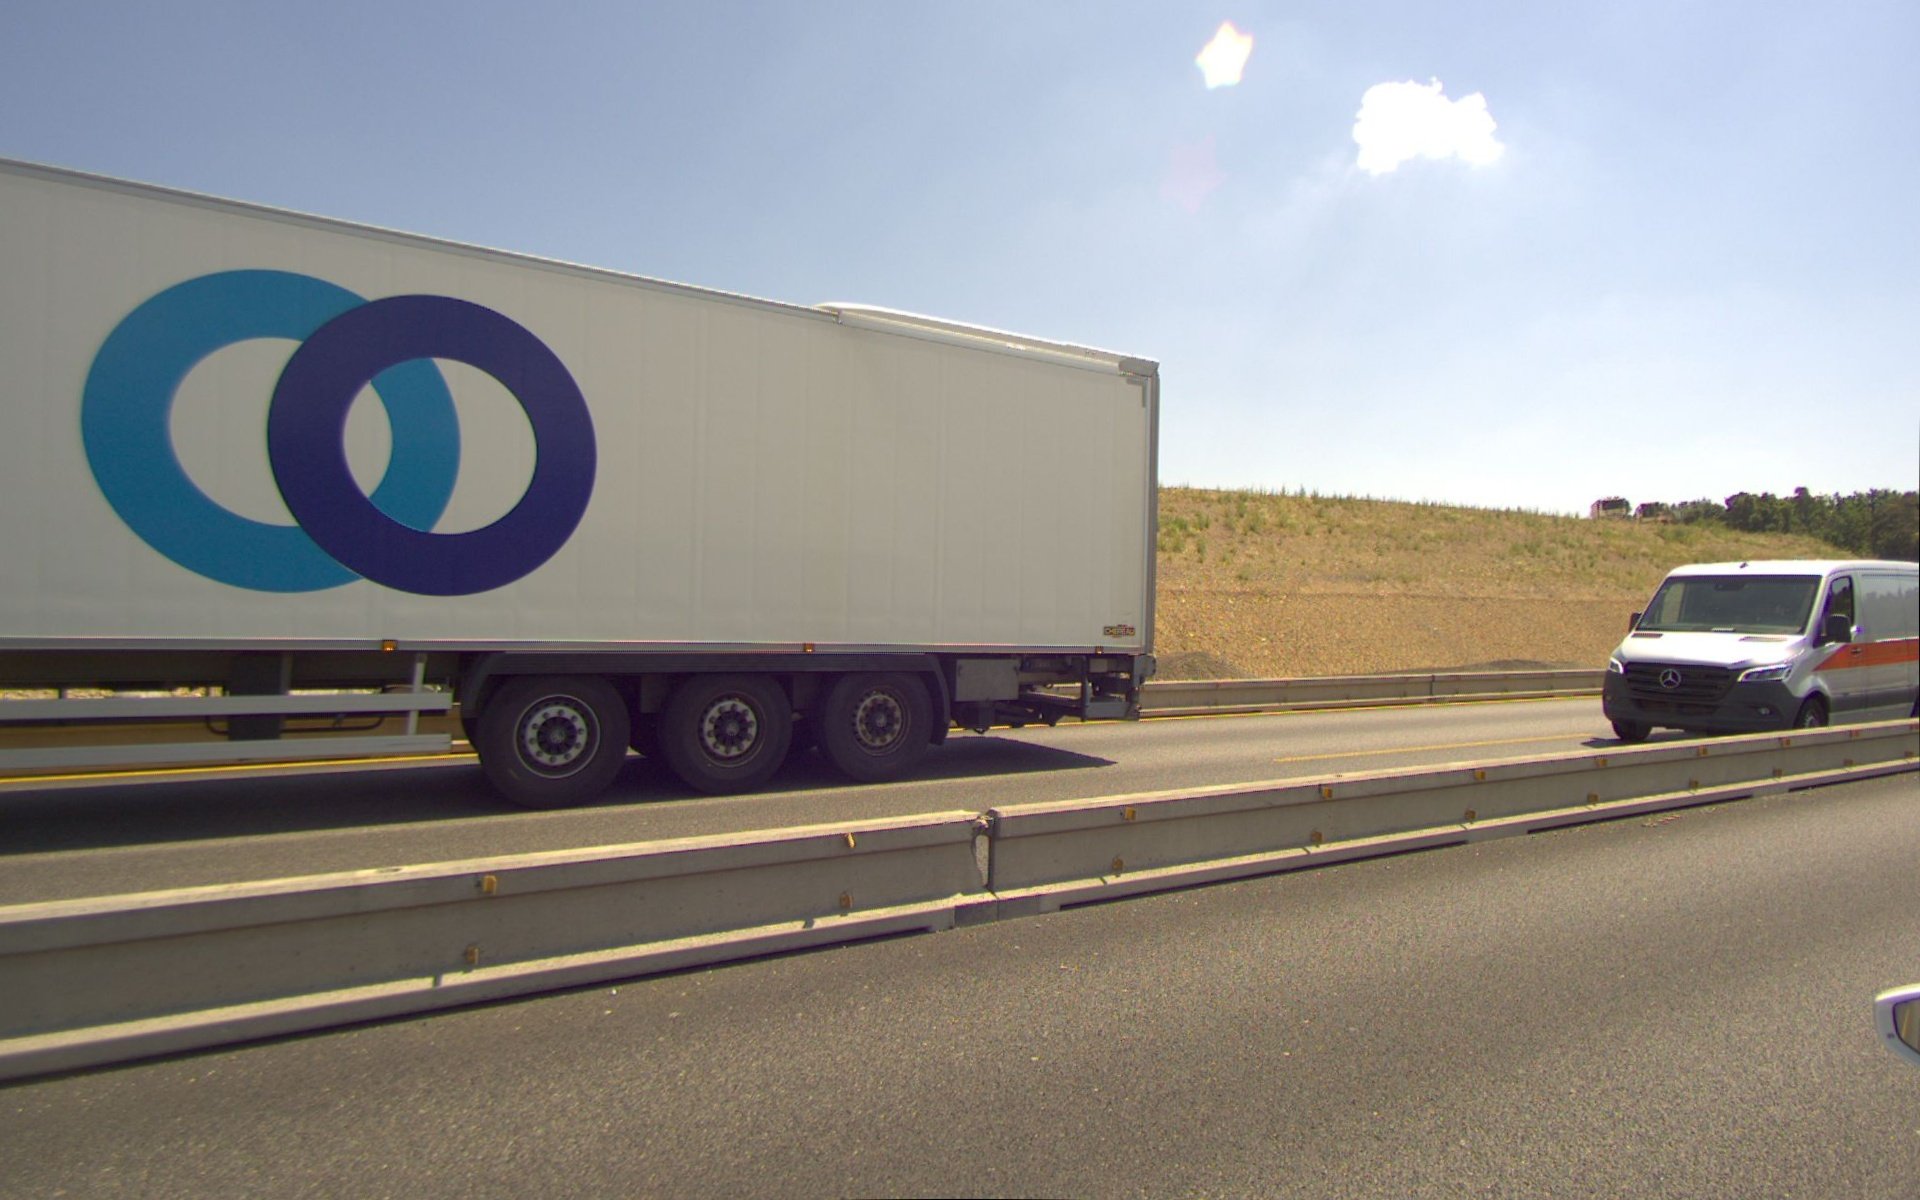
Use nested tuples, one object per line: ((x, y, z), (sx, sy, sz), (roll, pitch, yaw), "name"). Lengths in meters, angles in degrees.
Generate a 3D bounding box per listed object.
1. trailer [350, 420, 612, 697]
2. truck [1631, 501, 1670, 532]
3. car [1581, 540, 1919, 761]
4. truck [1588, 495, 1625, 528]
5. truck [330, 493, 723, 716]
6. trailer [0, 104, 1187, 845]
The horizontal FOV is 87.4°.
((-8.723, -0.602, 19.487), (2.752, 4.152, 8.347), (2, 0, -13), "trailer")
((80.982, -9.733, 117.895), (2.259, 2.785, 8.900), (2, 0, 25), "truck")
((10.380, 0.595, 12.765), (5.281, 2.322, 1.984), (2, 0, -31), "car")
((73.850, -10.091, 114.791), (2.317, 2.937, 8.361), (2, 0, 25), "truck")
((-6.545, 0.007, 15.404), (4.960, 3.003, 2.588), (2, 0, 16), "truck")
((-4.264, -0.626, 7.907), (13.491, 4.147, 2.841), (2, -2, -30), "trailer")
